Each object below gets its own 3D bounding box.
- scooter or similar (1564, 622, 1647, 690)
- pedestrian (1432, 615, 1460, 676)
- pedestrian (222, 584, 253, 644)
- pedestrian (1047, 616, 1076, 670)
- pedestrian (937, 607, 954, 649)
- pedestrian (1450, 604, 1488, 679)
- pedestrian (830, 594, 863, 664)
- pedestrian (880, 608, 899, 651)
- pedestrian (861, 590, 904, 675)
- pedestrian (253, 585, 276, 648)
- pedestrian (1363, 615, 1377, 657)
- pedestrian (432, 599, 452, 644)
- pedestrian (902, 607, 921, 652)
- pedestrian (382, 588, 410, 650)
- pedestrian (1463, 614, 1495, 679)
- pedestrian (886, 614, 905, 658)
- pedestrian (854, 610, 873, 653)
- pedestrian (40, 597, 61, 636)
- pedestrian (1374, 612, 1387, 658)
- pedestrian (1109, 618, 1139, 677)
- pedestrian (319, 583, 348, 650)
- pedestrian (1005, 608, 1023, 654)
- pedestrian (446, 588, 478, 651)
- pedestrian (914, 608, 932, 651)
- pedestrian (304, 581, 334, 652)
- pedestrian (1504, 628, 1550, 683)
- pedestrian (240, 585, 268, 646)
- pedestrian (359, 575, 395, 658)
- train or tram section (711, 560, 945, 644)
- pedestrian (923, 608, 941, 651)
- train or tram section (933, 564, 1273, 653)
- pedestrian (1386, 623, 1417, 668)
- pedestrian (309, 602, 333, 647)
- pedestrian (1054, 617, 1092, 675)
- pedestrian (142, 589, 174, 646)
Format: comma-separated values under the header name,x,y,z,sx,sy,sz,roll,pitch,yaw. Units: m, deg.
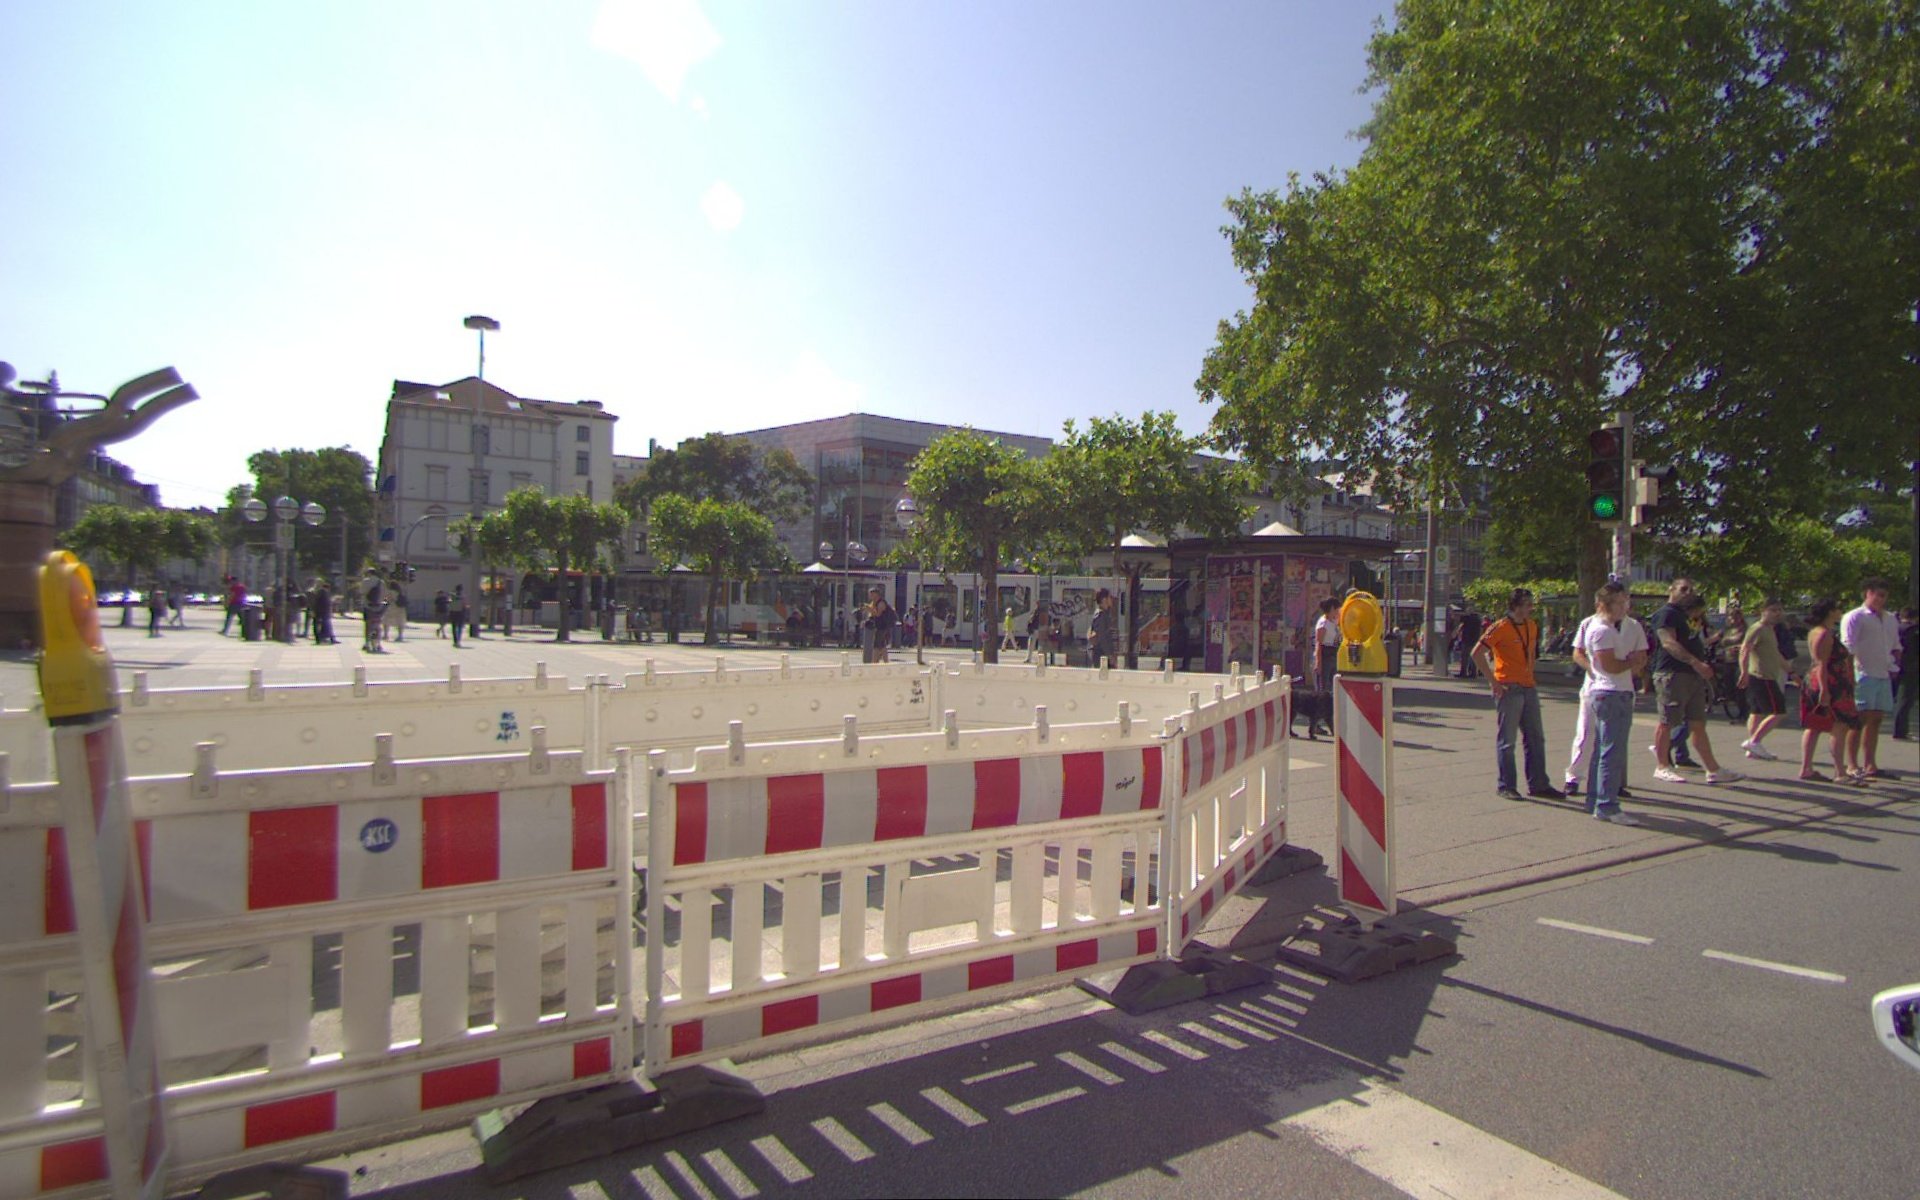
name,x,y,z,sx,sy,sz,roll,pitch,yaw
scooter or similar,14.323,1.219,22.338,1.018,1.439,1.281,1,-1,1
pedestrian,13.103,1.229,27.097,0.489,1.624,0.500,2,-2,-10
pedestrian,-21.993,0.412,30.579,0.792,1.773,0.602,3,1,44
pedestrian,2.495,1.044,24.635,0.600,1.279,0.611,1,0,16
pedestrian,-0.610,1.179,43.192,0.594,1.772,0.804,1,0,9
pedestrian,12.687,1.046,25.056,0.604,1.833,0.634,2,-2,-10
pedestrian,-2.933,0.752,25.923,0.601,1.772,0.602,1,-1,-41
pedestrian,-2.977,1.222,42.304,0.594,1.772,0.747,1,0,9
pedestrian,-1.660,0.691,21.532,0.788,1.773,0.606,2,1,2
pedestrian,-19.858,0.468,28.703,0.498,1.773,0.540,2,1,-35
pedestrian,15.976,1.393,39.136,0.374,1.595,0.415,1,0,9
pedestrian,-19.695,0.822,38.171,0.598,1.660,0.571,2,1,-25
pedestrian,-1.969,1.196,40.996,0.594,1.772,0.747,1,0,9
pedestrian,-16.452,0.547,29.314,0.600,1.773,0.796,2,1,-35
pedestrian,13.523,1.206,26.177,0.516,1.678,0.513,2,-2,-10
pedestrian,-2.624,1.448,41.044,0.594,1.772,0.747,1,0,9
pedestrian,-4.041,1.326,42.122,0.594,1.772,0.747,1,0,9
pedestrian,-39.944,0.723,44.107,0.566,1.660,0.603,3,1,41
pedestrian,16.372,1.355,39.115,0.374,1.772,0.415,1,0,9
pedestrian,3.682,1.061,22.579,0.599,1.279,0.613,1,0,6
pedestrian,-17.111,0.444,27.433,0.600,1.773,0.796,2,1,-35
pedestrian,2.133,1.206,39.671,0.594,1.772,0.747,1,0,9
pedestrian,-12.912,0.508,26.051,0.600,1.582,0.796,2,1,-35
pedestrian,-1.543,1.225,41.726,0.594,1.772,0.747,1,0,9
pedestrian,-16.447,0.416,25.767,0.600,1.773,0.796,2,1,-35
pedestrian,13.875,1.351,24.582,0.717,1.310,0.634,2,0,-9
pedestrian,-19.624,0.428,27.918,0.600,1.643,0.796,2,1,-35
pedestrian,-13.255,0.367,22.839,0.600,1.822,0.796,2,1,-35
train or tram section,-6.257,0.083,48.306,10.779,3.726,2.623,1,0,5
pedestrian,-1.177,1.249,42.494,0.594,1.772,0.747,1,0,9
train or tram section,6.493,0.349,46.957,15.232,3.726,2.623,1,0,6
pedestrian,15.345,1.562,34.910,0.598,1.534,0.742,1,0,-24
pedestrian,-23.990,0.928,37.721,0.566,1.660,0.603,3,1,41
pedestrian,2.571,1.042,22.877,0.602,1.279,0.610,1,0,38
pedestrian,-23.528,0.509,29.468,0.566,1.660,0.603,3,1,41
